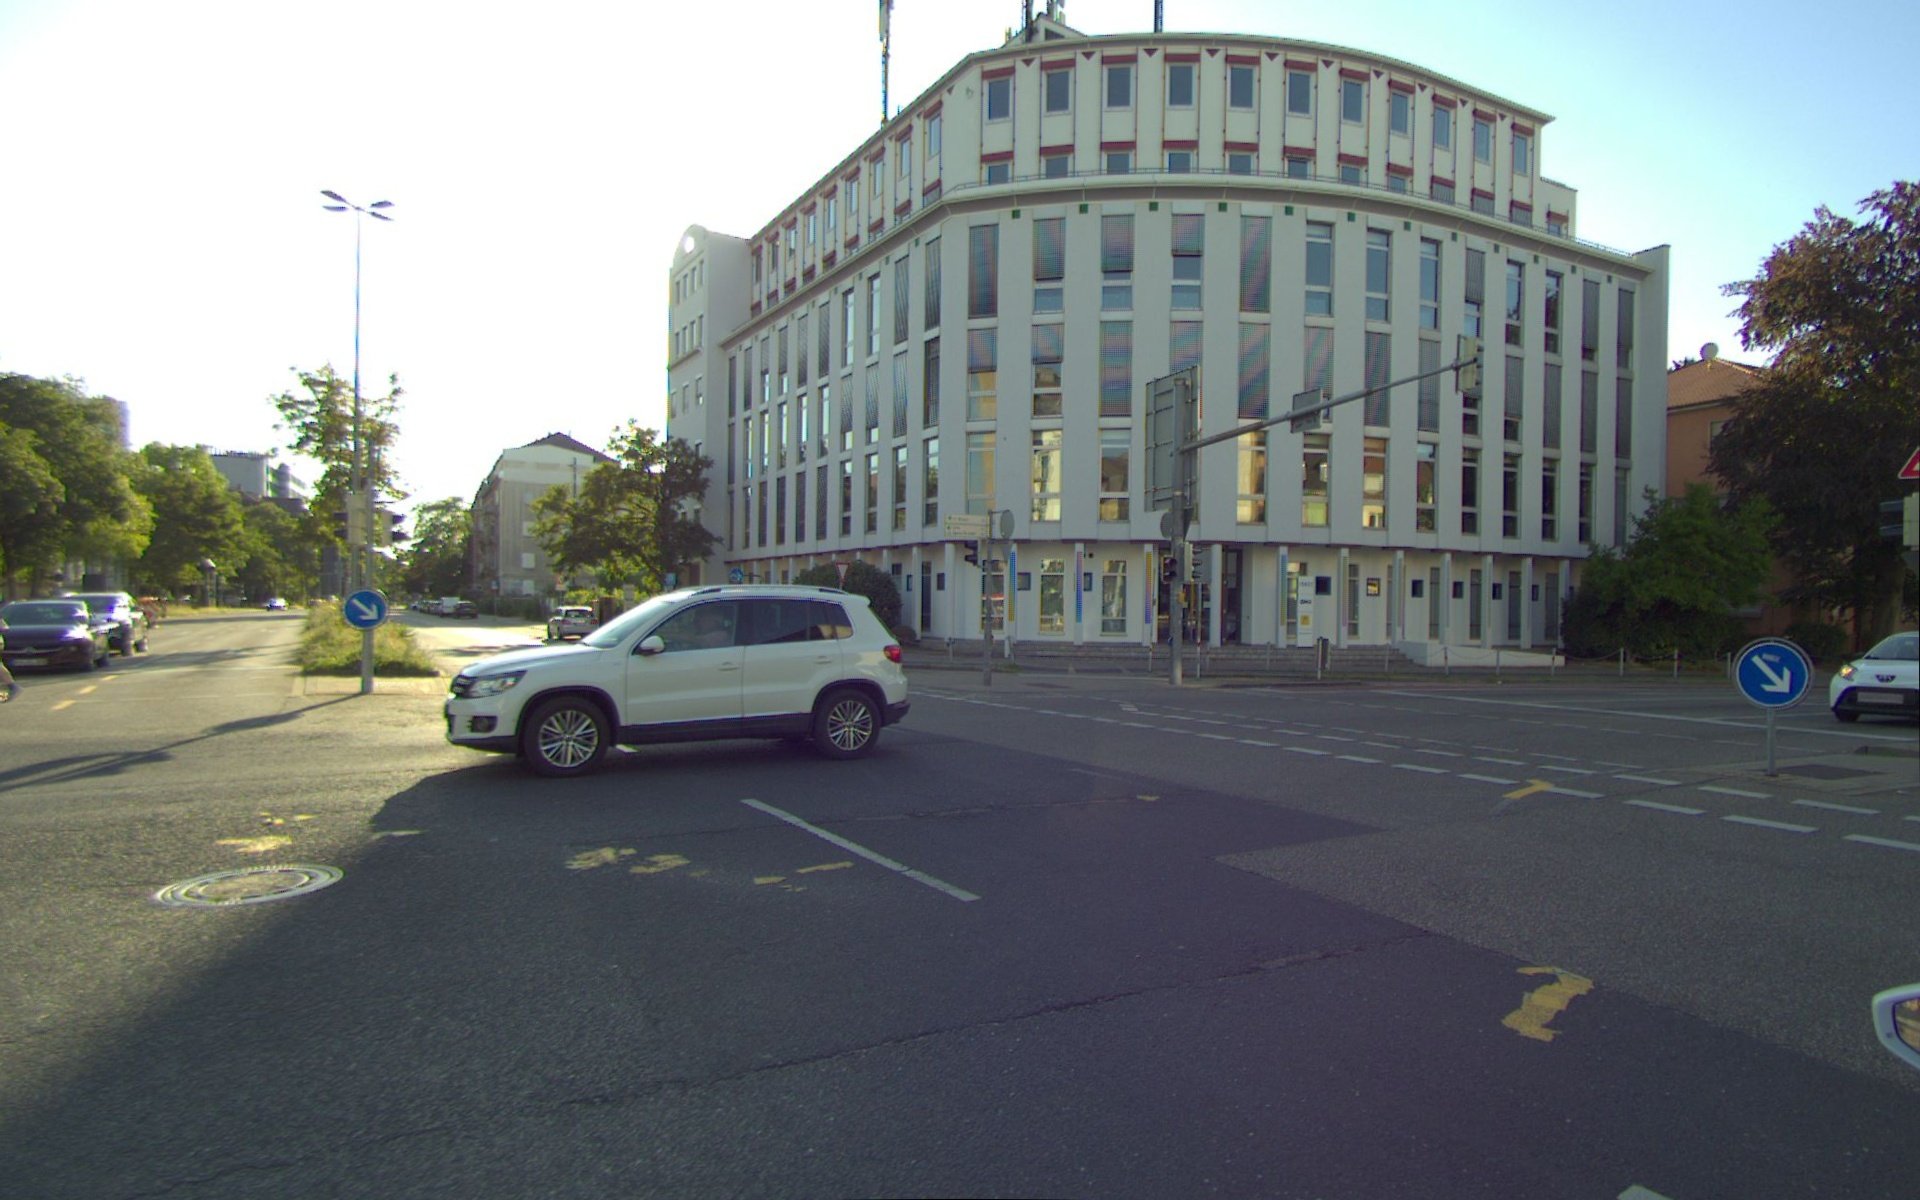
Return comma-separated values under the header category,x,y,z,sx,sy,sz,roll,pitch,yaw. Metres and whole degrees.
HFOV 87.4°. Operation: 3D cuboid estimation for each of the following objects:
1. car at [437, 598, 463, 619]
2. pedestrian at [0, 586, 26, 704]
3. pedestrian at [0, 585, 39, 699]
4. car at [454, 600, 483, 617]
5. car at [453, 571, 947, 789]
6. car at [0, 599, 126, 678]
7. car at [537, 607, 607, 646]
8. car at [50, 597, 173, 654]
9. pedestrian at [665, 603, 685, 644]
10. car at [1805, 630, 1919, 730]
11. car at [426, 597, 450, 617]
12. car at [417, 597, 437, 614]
category,x,y,z,sx,sy,sz,roll,pitch,yaw
car,-49.469,0.802,97.378,1.978,2.040,3.966,1,0,-31
pedestrian,-14.011,0.637,14.350,0.881,1.673,0.615,1,0,-35
pedestrian,-14.400,0.619,14.986,0.874,1.673,0.672,1,0,-35
car,-44.610,0.761,91.150,1.978,1.506,3.966,1,0,-31
car,-2.483,0.666,9.830,4.386,1.729,1.820,1,0,-28
car,-18.841,0.735,20.674,1.977,1.465,3.618,1,0,-30
car,-18.571,1.246,48.005,1.983,1.751,3.955,1,0,-39
car,-23.416,0.671,27.874,1.977,1.465,3.618,1,0,-30
pedestrian,-12.725,1.032,44.870,0.692,1.814,0.477,1,0,-37
car,15.990,1.259,16.531,3.851,1.480,1.821,1,0,-27
car,-55.240,0.770,106.177,1.978,2.040,3.966,1,0,-31
car,-65.554,0.724,123.459,1.978,2.040,3.966,1,0,-31
